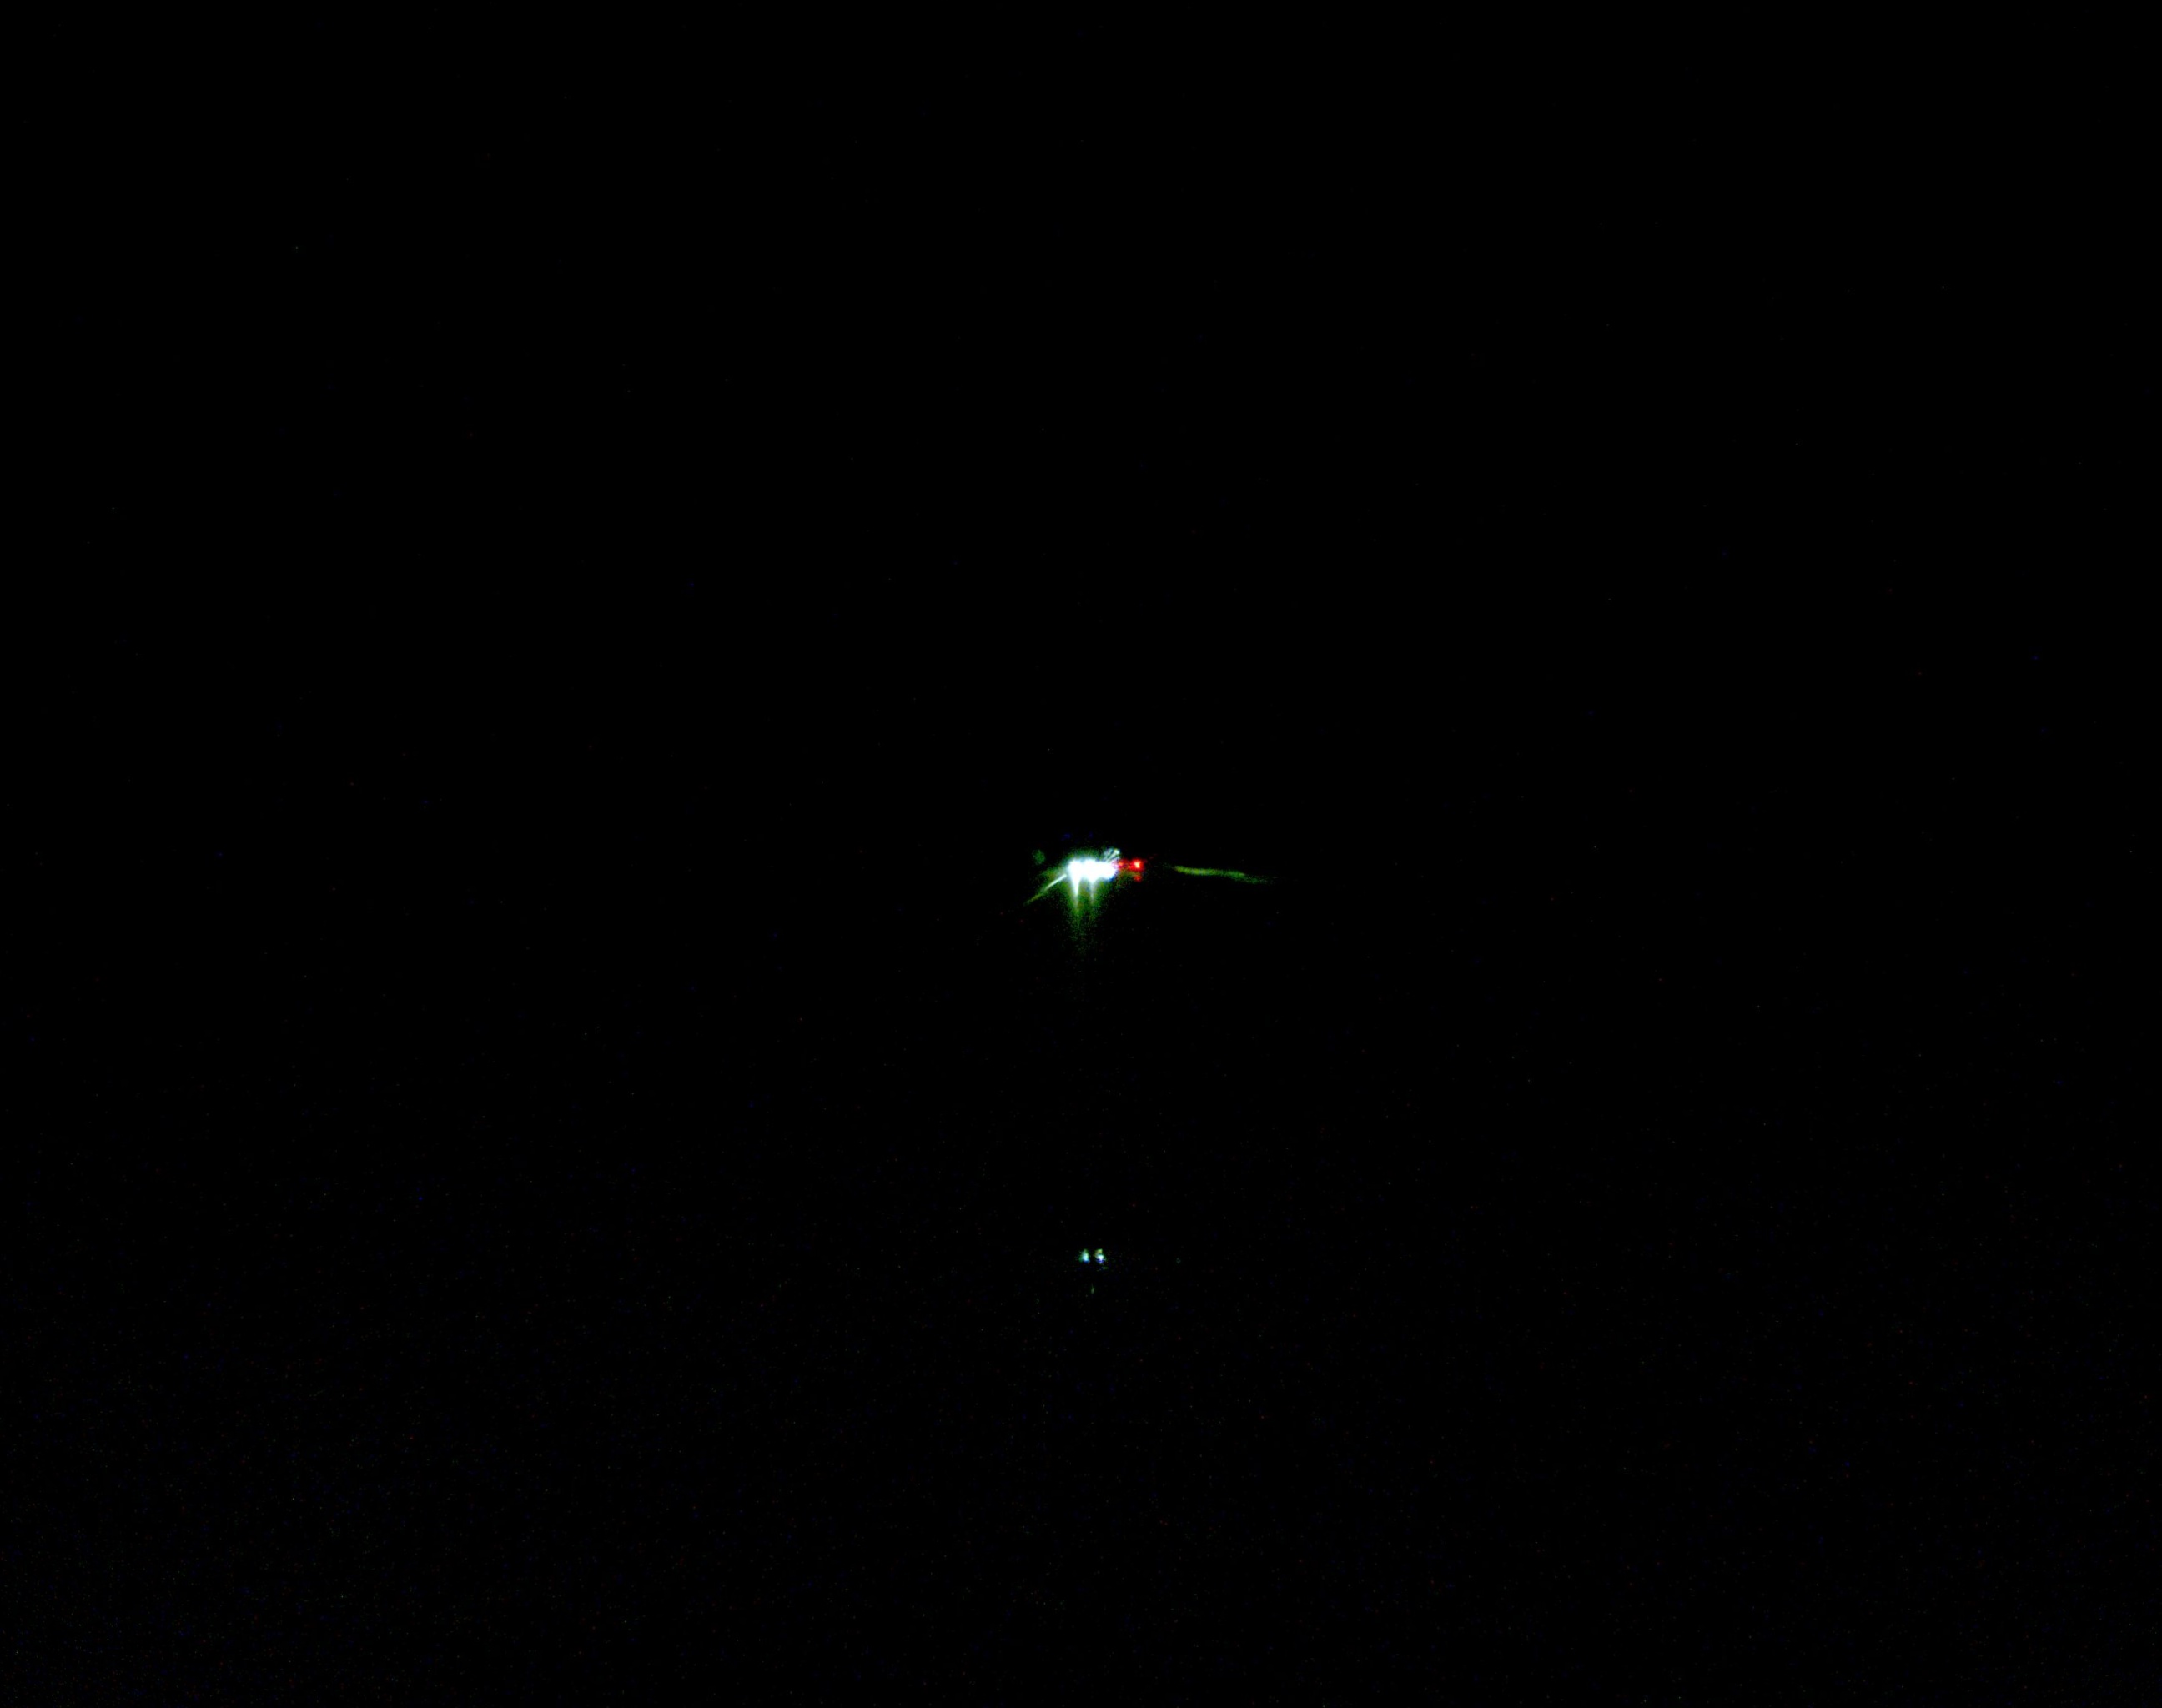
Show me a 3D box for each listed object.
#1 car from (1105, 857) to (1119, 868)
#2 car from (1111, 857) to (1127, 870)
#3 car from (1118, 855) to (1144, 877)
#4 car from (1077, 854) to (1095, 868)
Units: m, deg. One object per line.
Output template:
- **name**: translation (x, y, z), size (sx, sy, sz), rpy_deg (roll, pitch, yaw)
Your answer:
- **car**: translation (4.940, 1.343, 121.446), size (1.998, 1.466, 3.924), rpy_deg (-3, 0, 1)
- **car**: translation (4.603, 1.133, 92.959), size (1.848, 1.471, 4.249), rpy_deg (-3, 0, 2)
- **car**: translation (4.455, 1.033, 67.848), size (1.998, 1.782, 4.246), rpy_deg (-3, 0, 1)
- **car**: translation (0.567, 0.811, 84.894), size (1.807, 1.452, 4.276), rpy_deg (-3, 0, 2)
